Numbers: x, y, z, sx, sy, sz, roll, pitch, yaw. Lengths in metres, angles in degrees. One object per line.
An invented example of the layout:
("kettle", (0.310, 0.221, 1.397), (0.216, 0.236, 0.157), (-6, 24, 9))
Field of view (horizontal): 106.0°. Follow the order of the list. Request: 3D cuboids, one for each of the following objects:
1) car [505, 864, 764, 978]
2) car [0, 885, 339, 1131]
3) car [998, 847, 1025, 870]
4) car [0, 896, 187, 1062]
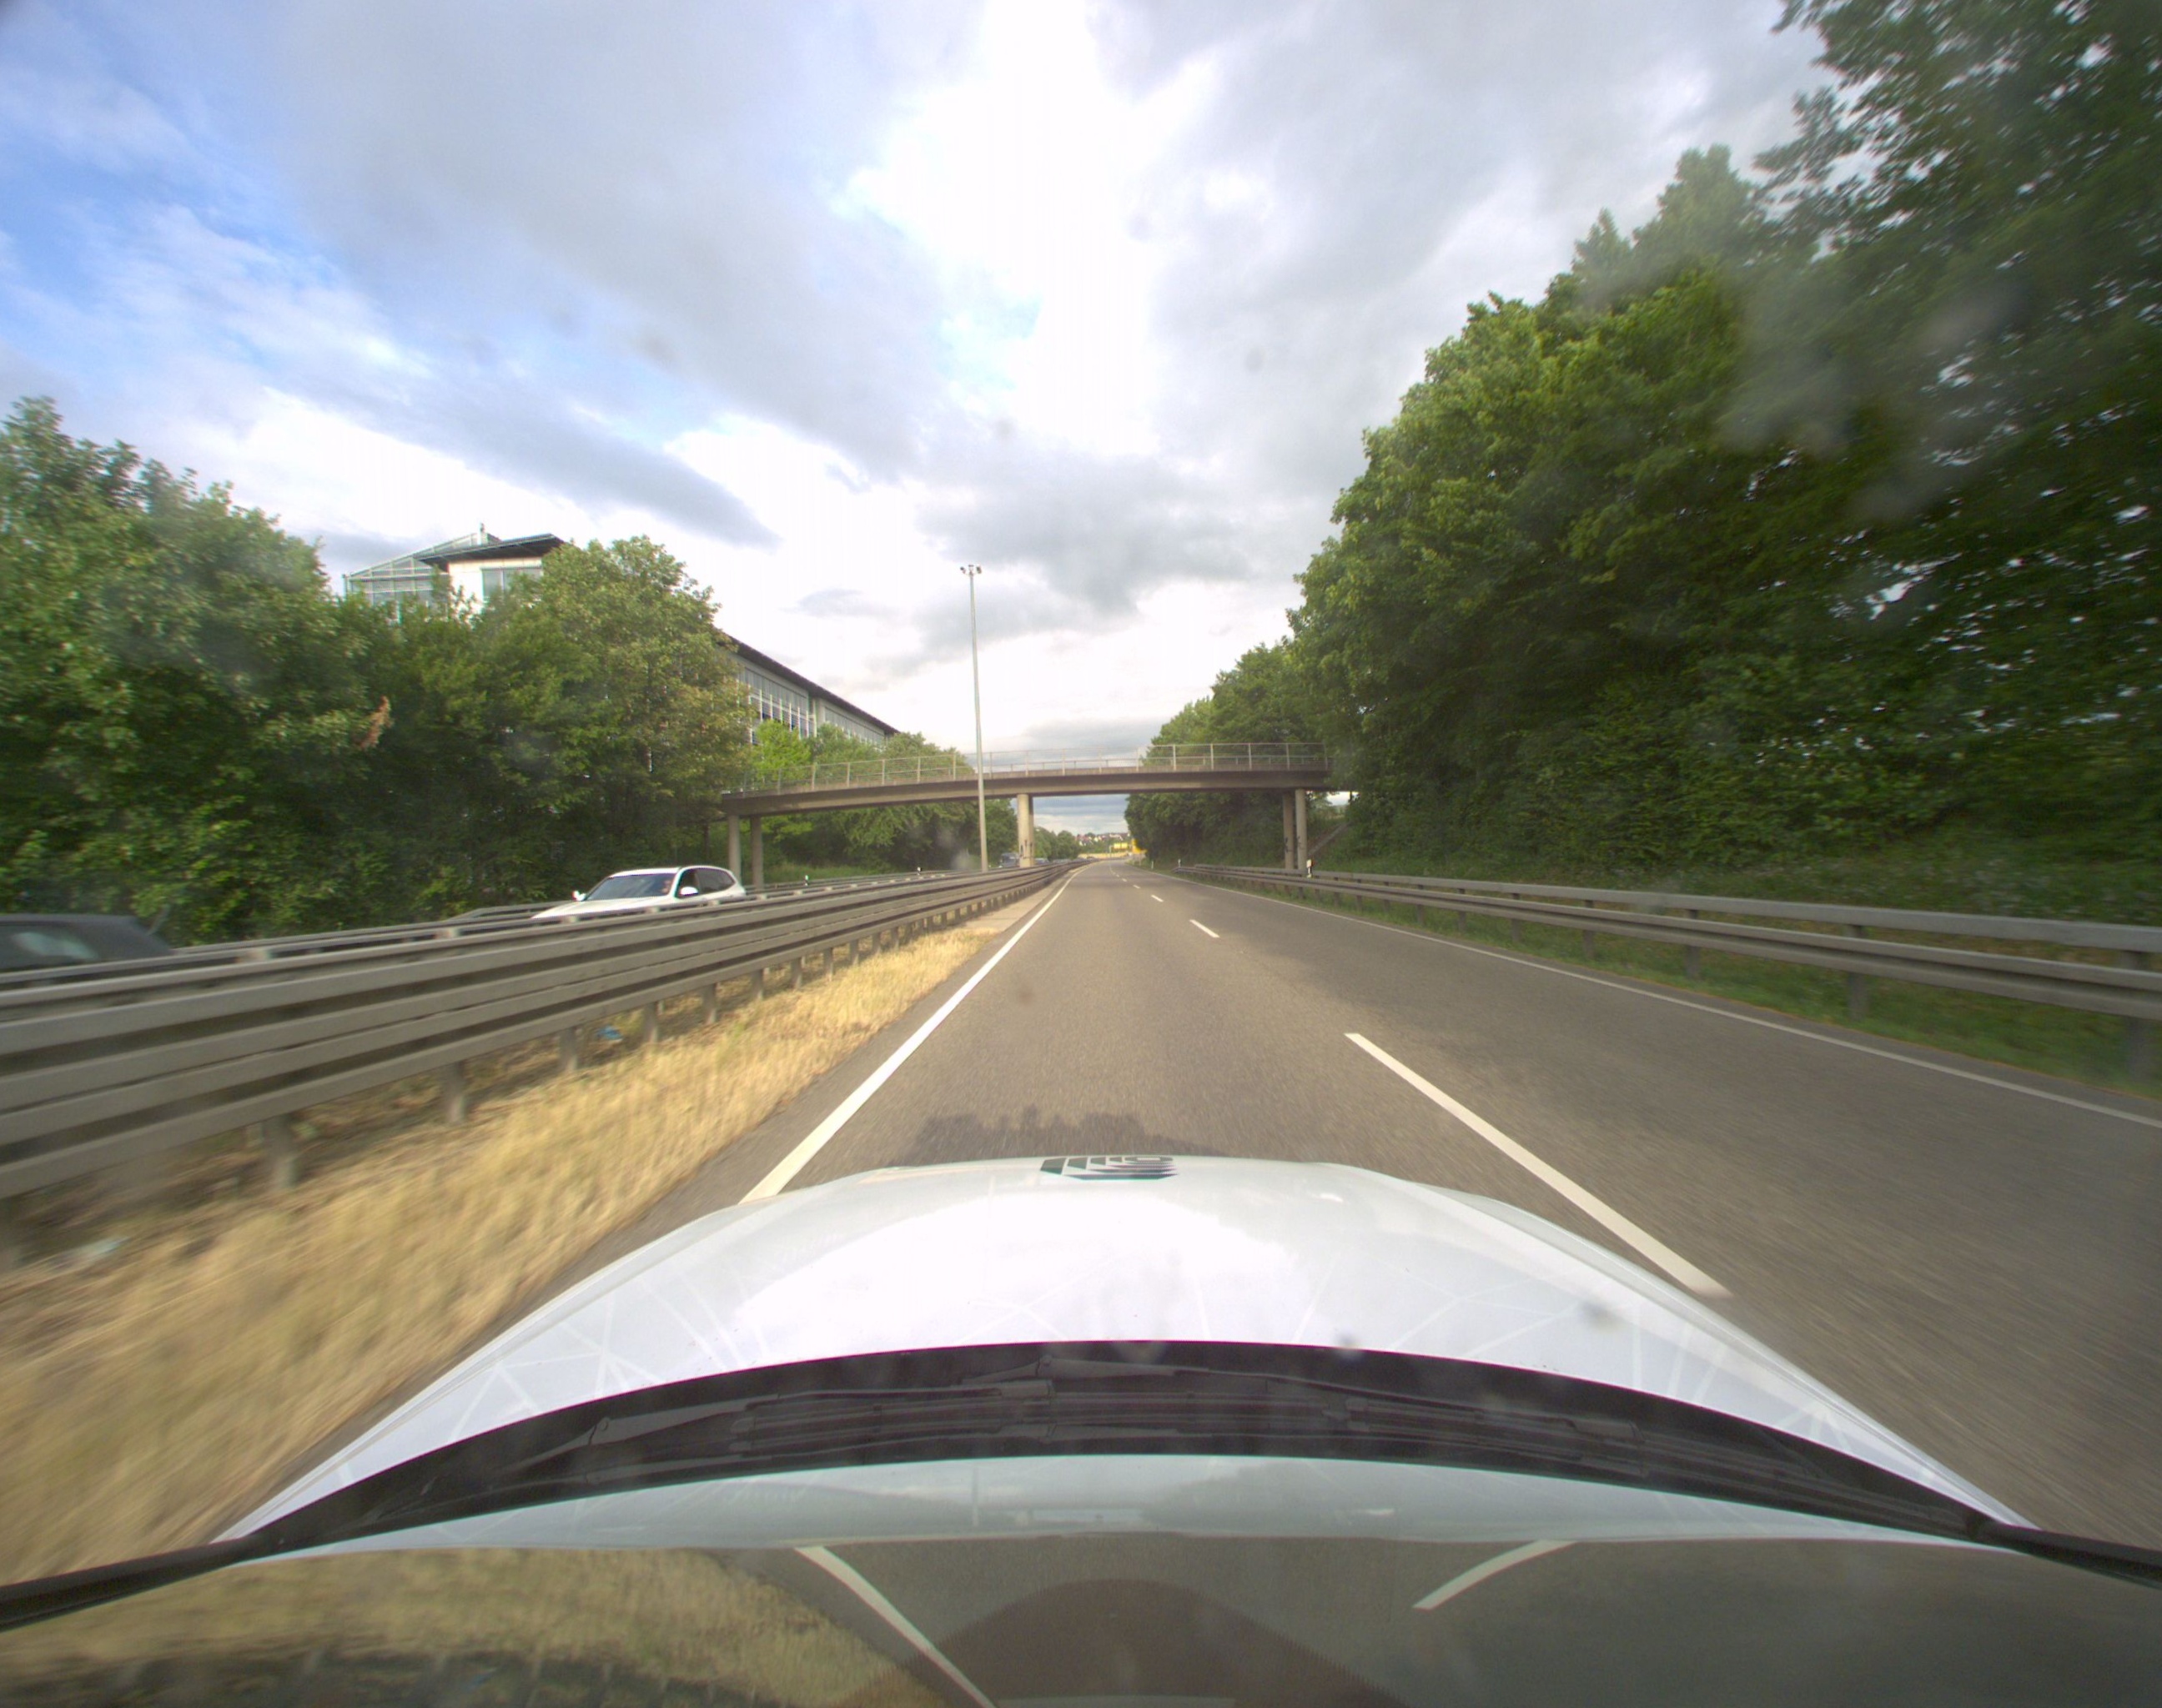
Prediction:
("car", (-7.589, 1.025, 14.541), (1.816, 1.584, 4.792), (-2, 0, 2))
("car", (-7.701, 1.049, 5.570), (1.712, 1.467, 3.735), (-2, 0, 1))
("car", (-8.069, 0.489, 95.413), (2.241, 2.537, 6.943), (-2, 0, 2))
("car", (-11.531, 1.319, 7.370), (1.827, 1.536, 4.400), (-4, 0, 3))
